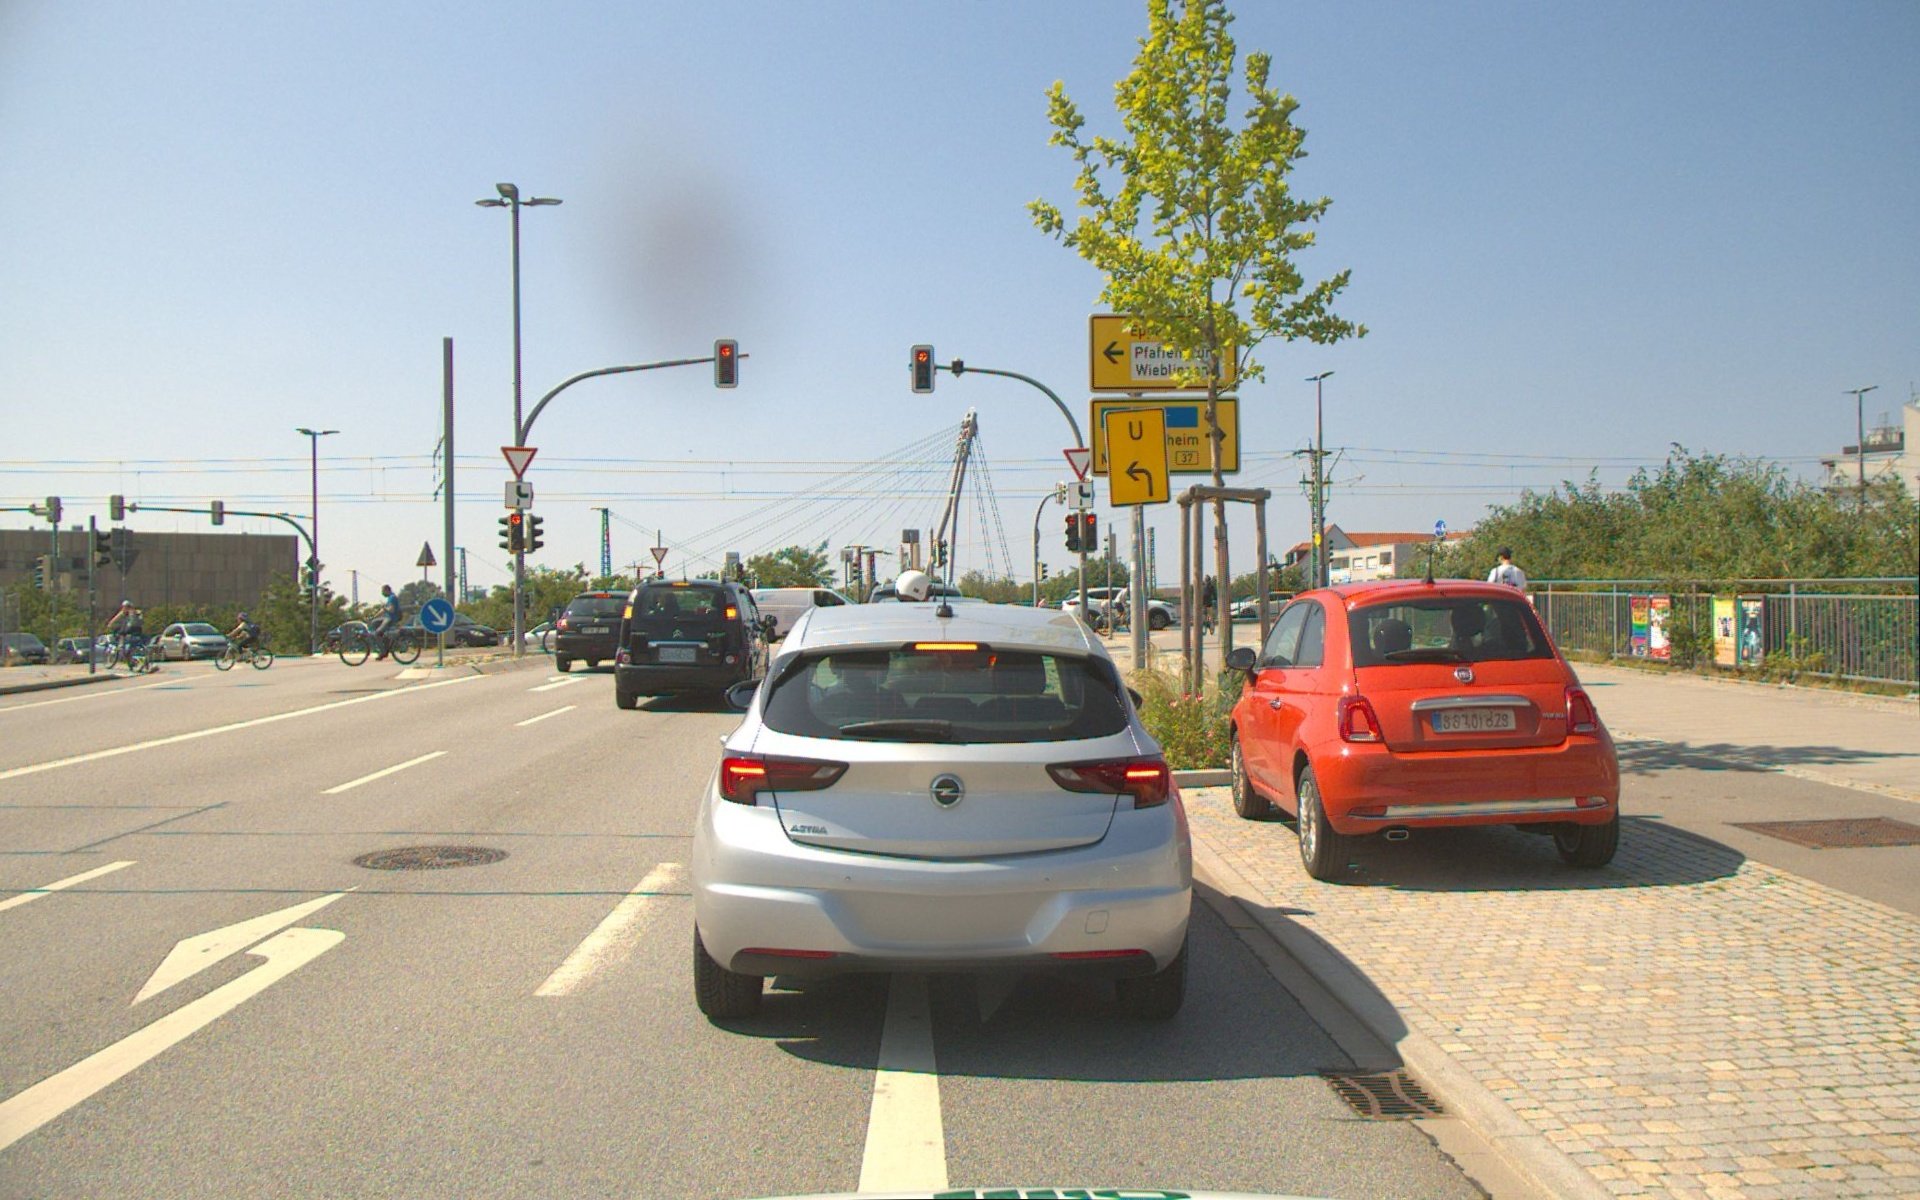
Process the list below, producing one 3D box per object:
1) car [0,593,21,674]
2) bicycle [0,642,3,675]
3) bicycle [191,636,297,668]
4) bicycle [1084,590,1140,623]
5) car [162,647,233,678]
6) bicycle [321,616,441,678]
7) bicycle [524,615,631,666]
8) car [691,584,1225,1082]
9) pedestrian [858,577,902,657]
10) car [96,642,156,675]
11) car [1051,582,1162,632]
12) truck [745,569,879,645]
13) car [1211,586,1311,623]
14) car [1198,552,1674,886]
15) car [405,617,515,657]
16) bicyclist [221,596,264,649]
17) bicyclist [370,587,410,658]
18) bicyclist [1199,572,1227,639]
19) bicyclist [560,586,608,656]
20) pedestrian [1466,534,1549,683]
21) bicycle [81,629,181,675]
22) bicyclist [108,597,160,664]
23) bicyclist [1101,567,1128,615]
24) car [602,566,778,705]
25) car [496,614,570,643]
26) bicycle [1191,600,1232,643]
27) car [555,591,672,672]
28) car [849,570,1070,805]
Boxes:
[{"bbox_3d":[-25.590,0.848,43.344,1.652,2.049,3.960,2,-1,-30],"label":"car"},{"bbox_3d":[-35.458,2.099,58.938,2.297,1.153,0.630,0,-1,-33],"label":"bicycle"},{"bbox_3d":[-16.523,1.196,38.185,2.200,0.704,0.516,0,-1,-1],"label":"bicycle"},{"bbox_3d":[5.264,0.227,57.296,1.829,1.087,0.577,1,-1,-3],"label":"bicycle"},{"bbox_3d":[-31.882,2.597,69.211,2.433,1.262,1.275,0,-1,-12],"label":"car"},{"bbox_3d":[-13.172,1.059,37.713,2.486,1.153,0.724,-5,2,-19],"label":"bicycle"},{"bbox_3d":[-8.904,0.940,38.529,2.311,1.147,0.677,1,-1,-4],"label":"bicycle"},{"bbox_3d":[-0.053,0.732,7.296,1.656,1.546,4.269,0,0,-1],"label":"car"},{"bbox_3d":[-1.912,0.410,39.530,0.735,1.896,0.743,2,-1,-38],"label":"pedestrian"},{"bbox_3d":[-39.148,2.727,77.620,3.101,1.464,1.575,0,-1,45],"label":"car"},{"bbox_3d":[5.563,0.270,63.205,3.955,1.846,1.929,1,-1,-6],"label":"car"},{"bbox_3d":[-5.285,0.268,59.587,4.597,2.585,2.000,1,-1,0],"label":"truck"},{"bbox_3d":[14.096,0.219,77.439,4.180,1.703,1.990,1,-1,-18],"label":"car"},{"bbox_3d":[2.613,0.573,10.047,1.636,1.566,3.915,-2,0,-2],"label":"car"},{"bbox_3d":[-18.736,1.377,61.978,3.698,1.414,1.665,1,-1,23],"label":"car"},{"bbox_3d":[-16.574,0.515,38.199,0.643,1.196,0.731,1,-1,0],"label":"bicyclist"},{"bbox_3d":[-13.024,0.514,37.799,0.809,1.587,0.859,1,-1,-18],"label":"bicyclist"},{"bbox_3d":[7.311,0.164,47.756,0.622,1.920,0.595,1,-1,27],"label":"bicyclist"},{"bbox_3d":[-8.764,0.494,38.547,0.926,1.596,0.822,1,-1,-3],"label":"bicyclist"},{"bbox_3d":[7.027,0.110,21.254,0.743,1.862,0.884,1,-1,-1],"label":"pedestrian"},{"bbox_3d":[-19.379,1.203,38.645,2.453,1.025,0.605,0,-1,22],"label":"bicycle"},{"bbox_3d":[-19.290,0.707,38.631,0.643,1.528,0.843,1,-1,21],"label":"bicyclist"},{"bbox_3d":[5.352,-0.299,57.376,0.756,1.638,0.948,1,-1,-3],"label":"bicyclist"},{"bbox_3d":[-3.478,0.447,21.912,1.767,1.650,3.915,-1,-1,-2],"label":"car"},{"bbox_3d":[-20.424,1.345,79.135,3.146,1.327,1.524,0,0,22],"label":"car"},{"bbox_3d":[7.274,0.631,47.710,0.543,1.198,2.085,1,0,26],"label":"bicycle"},{"bbox_3d":[-6.394,0.574,30.791,1.555,1.419,3.338,0,-1,-2],"label":"car"},{"bbox_3d":[-0.052,0.673,14.147,1.602,1.703,3.743,1,-1,-2],"label":"car"}]
